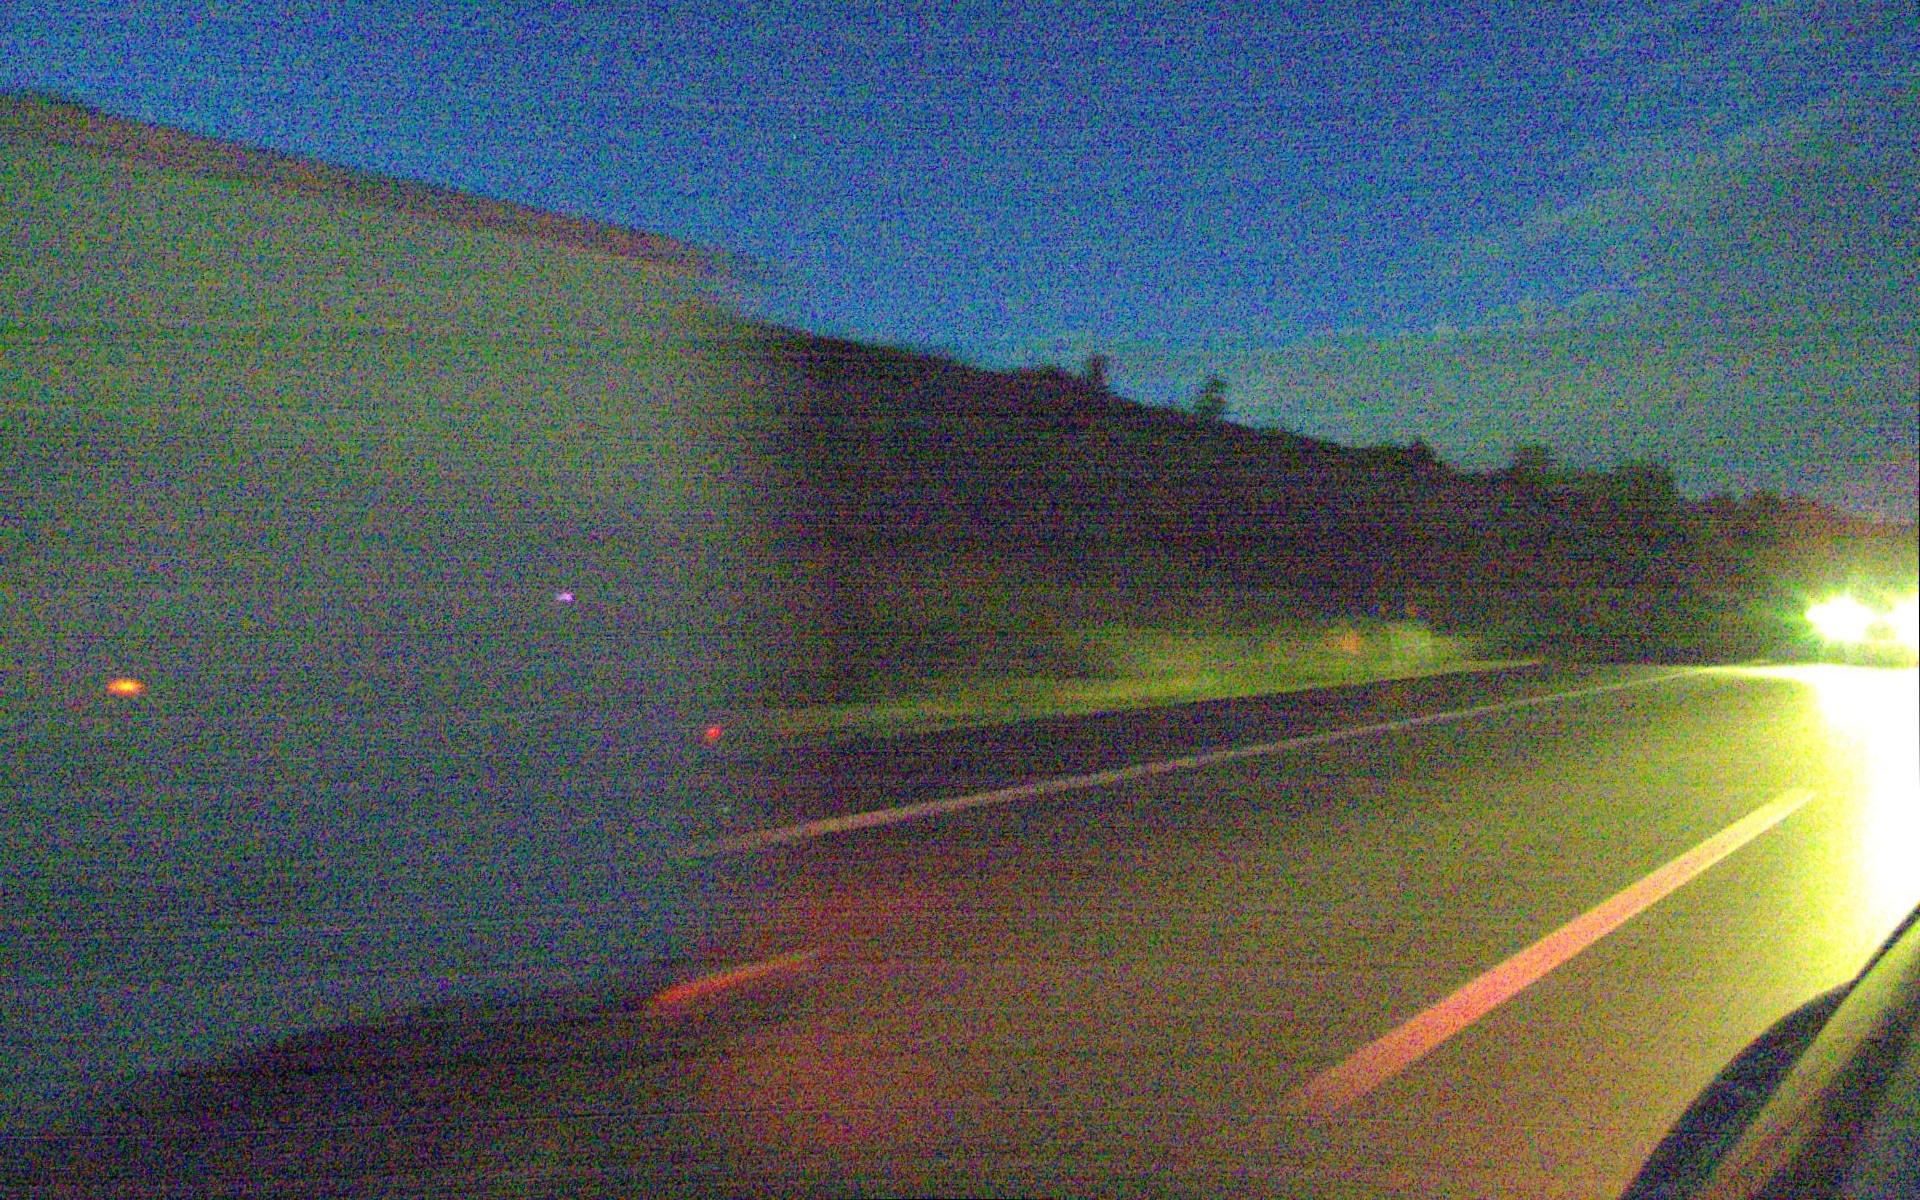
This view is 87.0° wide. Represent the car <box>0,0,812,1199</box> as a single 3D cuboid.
[{"bbox_3d":[-3.182,0.052,1.605,5.622,2.680,2.036,0,0,-40],"label":"car"}]

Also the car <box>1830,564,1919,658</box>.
[{"bbox_3d":[22.333,0.215,23.821,5.566,2.026,2.118,0,0,-42],"label":"car"}]
